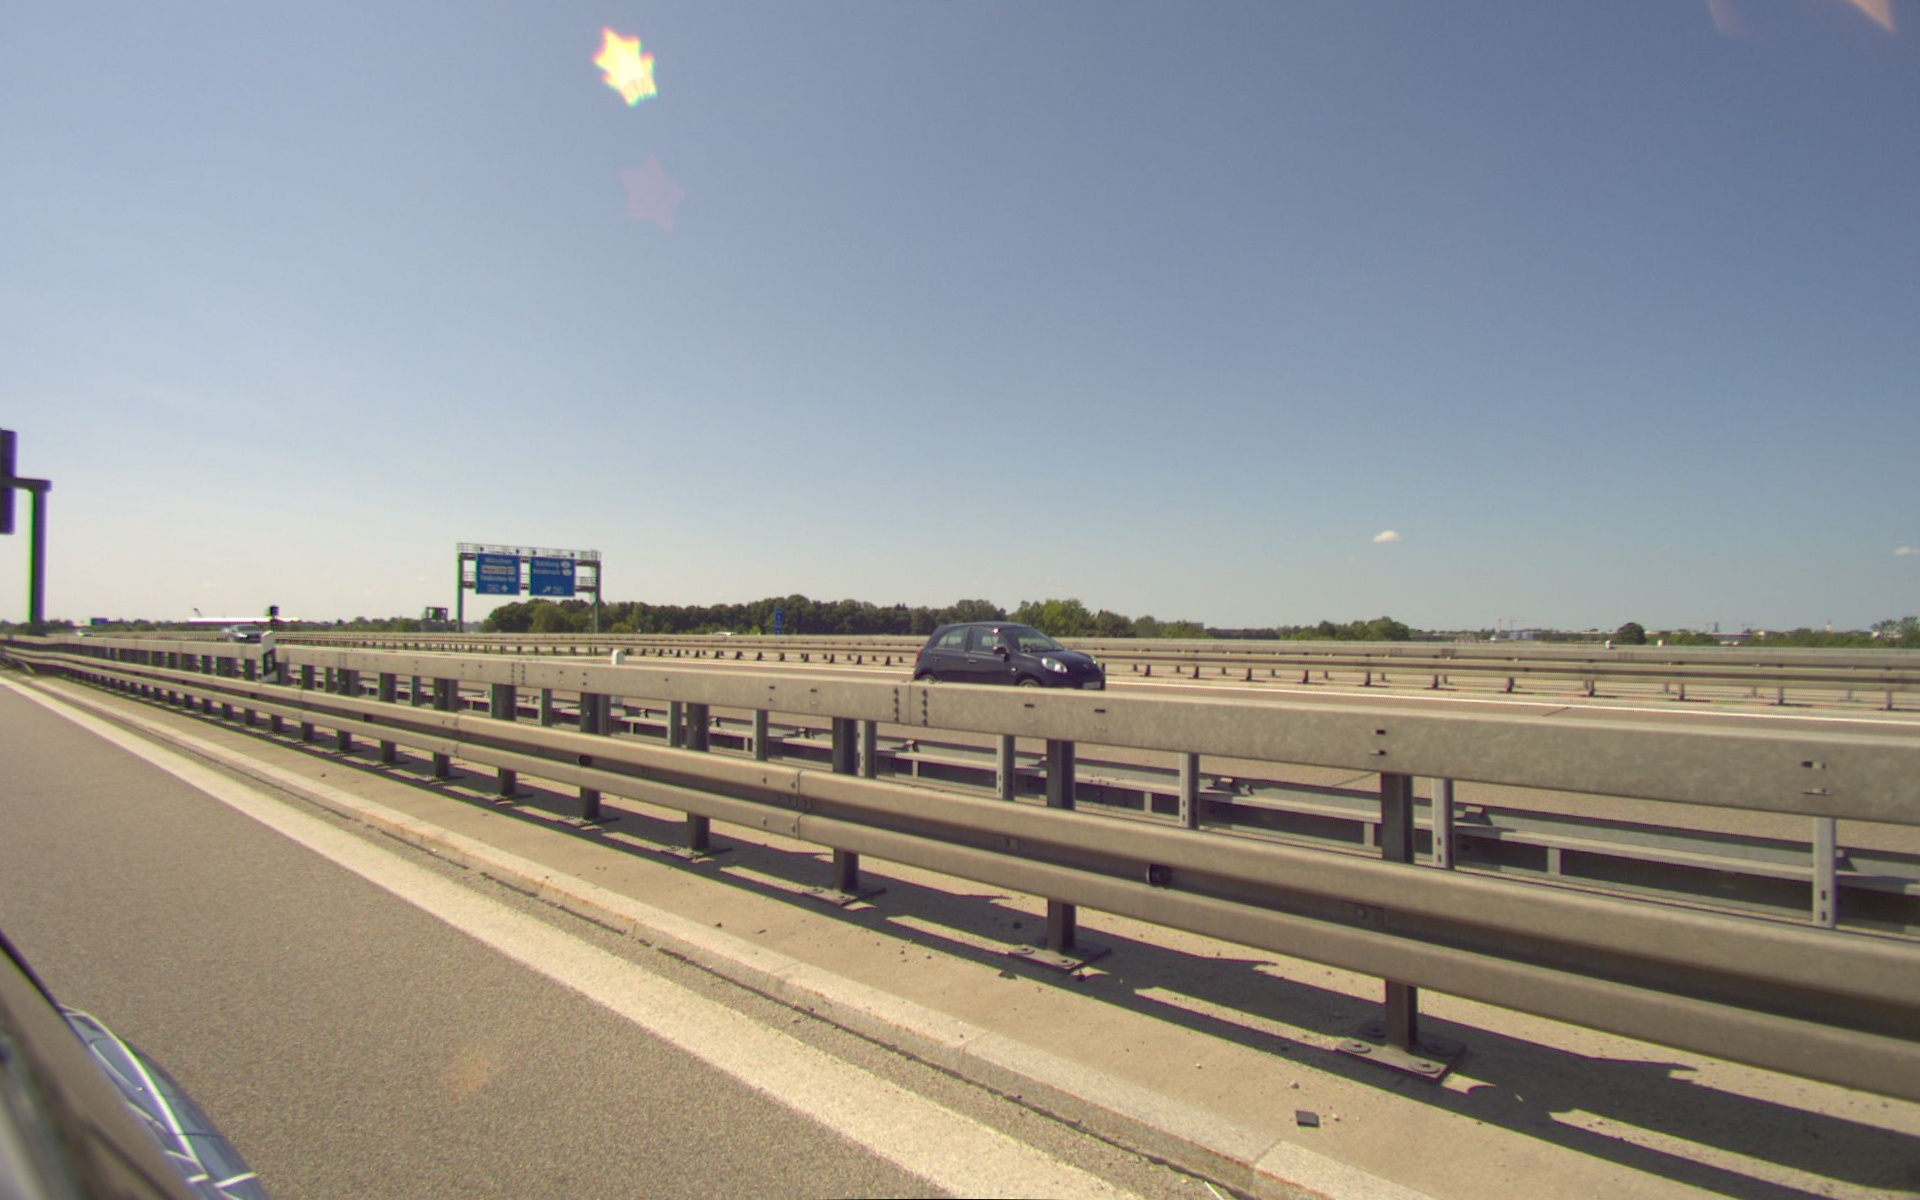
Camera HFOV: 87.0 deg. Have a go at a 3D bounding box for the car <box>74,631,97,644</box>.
[{"bbox_3d":[-114.286,4.876,132.209,4.576,1.529,1.817,-1,-2,43],"label":"car"}]

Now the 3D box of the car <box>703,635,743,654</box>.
[{"bbox_3d":[-19.456,3.617,82.915,3.343,1.364,1.561,1,-1,42],"label":"car"}]

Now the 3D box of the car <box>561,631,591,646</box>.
[{"bbox_3d":[-40.465,4.044,106.712,3.343,1.364,1.561,1,-1,42],"label":"car"}]

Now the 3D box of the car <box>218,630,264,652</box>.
[{"bbox_3d":[-51.603,2.904,72.626,4.576,1.529,1.817,-1,-2,43],"label":"car"}]

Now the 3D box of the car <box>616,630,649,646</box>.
[{"bbox_3d":[-30.984,3.543,95.690,3.343,1.364,1.561,1,-1,42],"label":"car"}]

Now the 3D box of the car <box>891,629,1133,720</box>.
[{"bbox_3d":[0.846,1.256,18.375,4.217,1.443,1.810,-1,-1,43],"label":"car"}]
